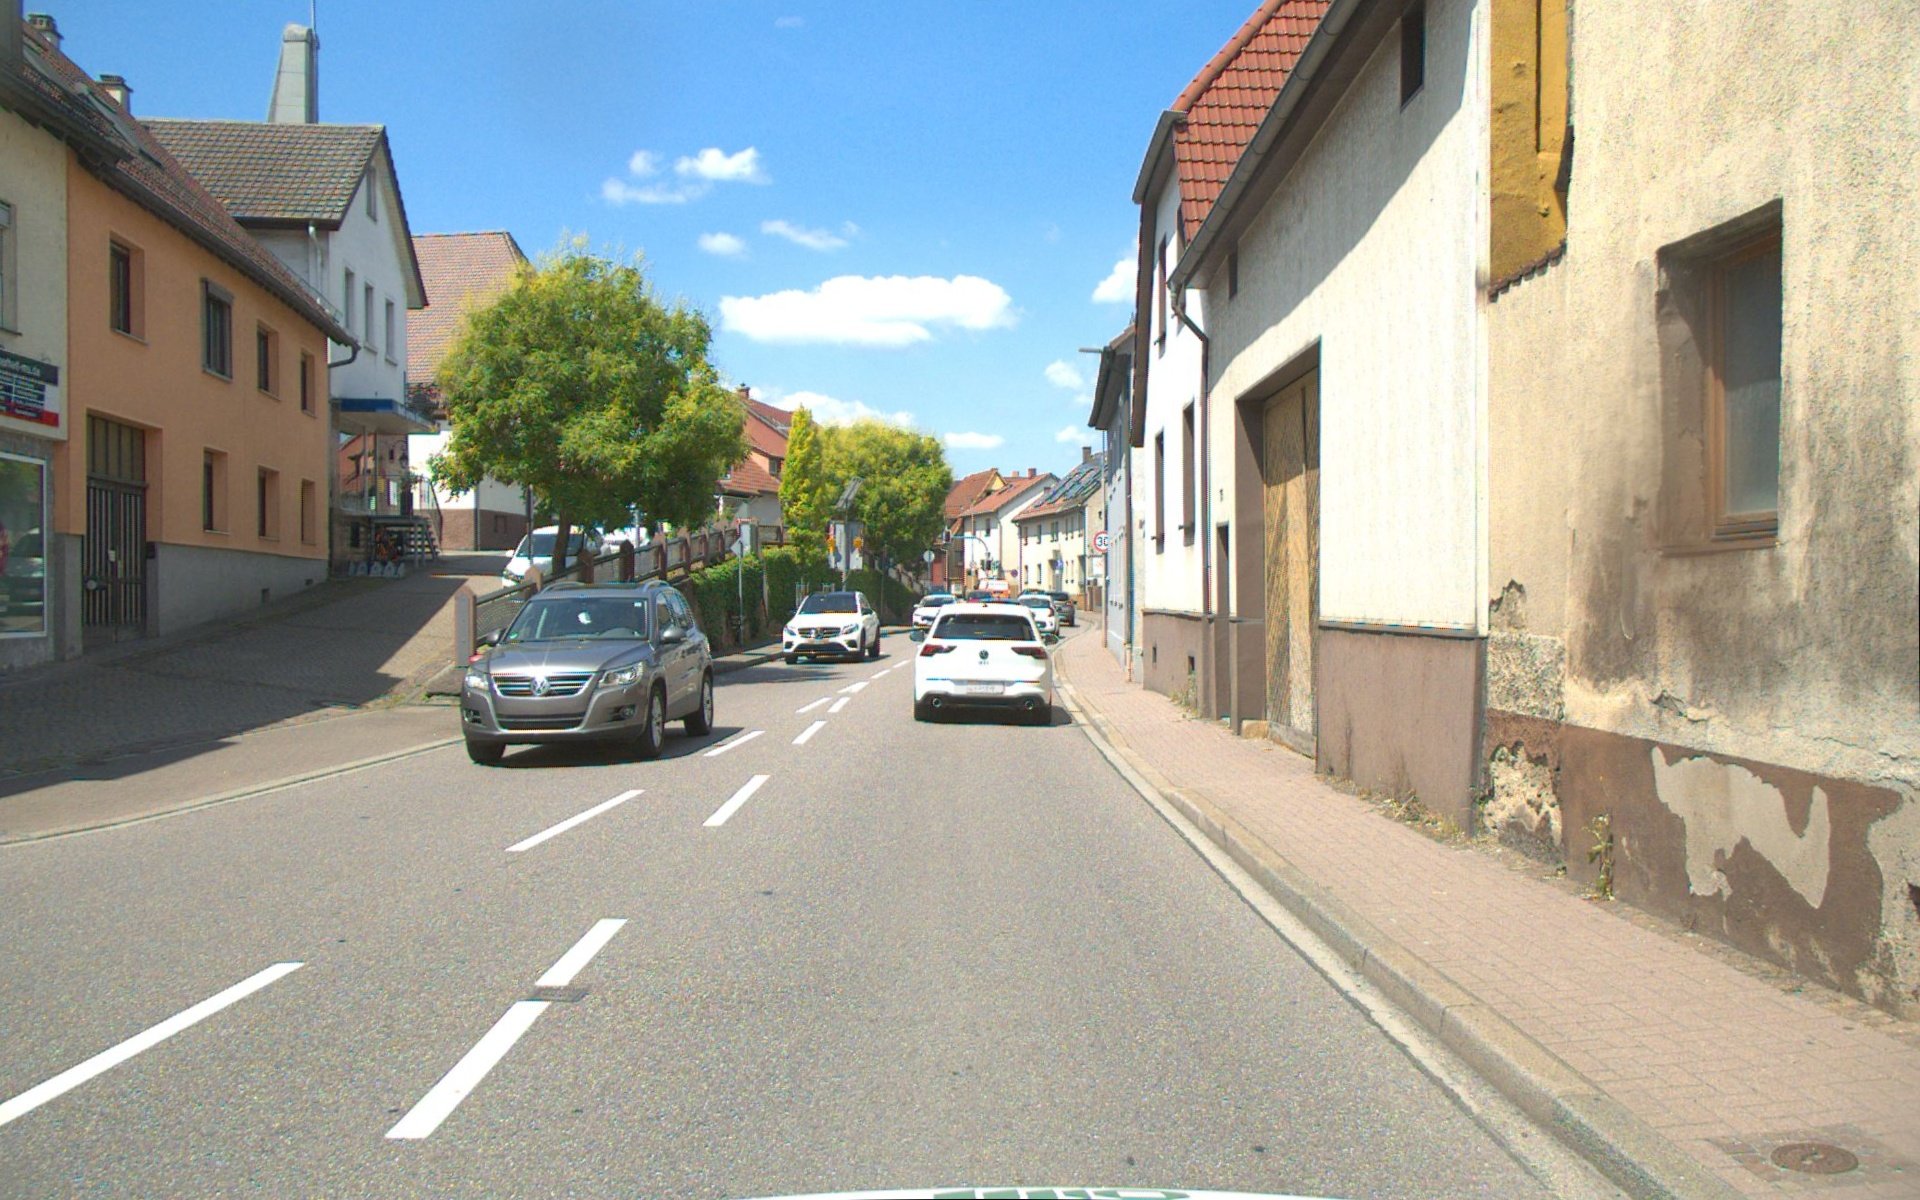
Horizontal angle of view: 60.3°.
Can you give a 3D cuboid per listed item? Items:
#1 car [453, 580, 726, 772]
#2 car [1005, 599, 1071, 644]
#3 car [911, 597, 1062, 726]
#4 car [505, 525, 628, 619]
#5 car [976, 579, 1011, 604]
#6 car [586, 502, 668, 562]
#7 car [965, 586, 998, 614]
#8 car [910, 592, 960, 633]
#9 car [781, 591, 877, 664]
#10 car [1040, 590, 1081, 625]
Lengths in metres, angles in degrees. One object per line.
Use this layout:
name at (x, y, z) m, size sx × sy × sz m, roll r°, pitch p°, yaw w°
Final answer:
car at (-3.567, 0.653, 16.656) m, size 1.721 × 1.664 × 4.050 m, roll -1°, pitch 0°, yaw 1°
car at (2.820, 0.751, 59.127) m, size 1.769 × 1.493 × 4.003 m, roll 1°, pitch 0°, yaw 11°
car at (0.336, 0.728, 21.674) m, size 1.770 × 1.493 × 4.000 m, roll 1°, pitch 0°, yaw 0°
car at (-7.988, -0.633, 33.865) m, size 1.659 × 1.569 × 3.857 m, roll 0°, pitch 6°, yaw -2°
car at (2.381, -0.611, 118.432) m, size 1.743 × 1.796 × 3.990 m, roll 0°, pitch 0°, yaw -10°
car at (-9.147, -1.911, 45.682) m, size 1.545 × 1.385 × 3.857 m, roll 0°, pitch 6°, yaw -2°
car at (1.232, -0.036, 92.501) m, size 1.583 × 1.469 × 3.803 m, roll -2°, pitch 0°, yaw 4°
car at (-0.965, 0.466, 65.091) m, size 1.776 × 1.472 × 4.431 m, roll -2°, pitch 0°, yaw 1°
car at (-3.100, 0.615, 39.929) m, size 1.804 × 1.607 × 4.446 m, roll -1°, pitch 0°, yaw 2°
car at (4.721, 0.328, 77.516) m, size 1.738 × 1.565 × 4.003 m, roll 0°, pitch 0°, yaw 6°
